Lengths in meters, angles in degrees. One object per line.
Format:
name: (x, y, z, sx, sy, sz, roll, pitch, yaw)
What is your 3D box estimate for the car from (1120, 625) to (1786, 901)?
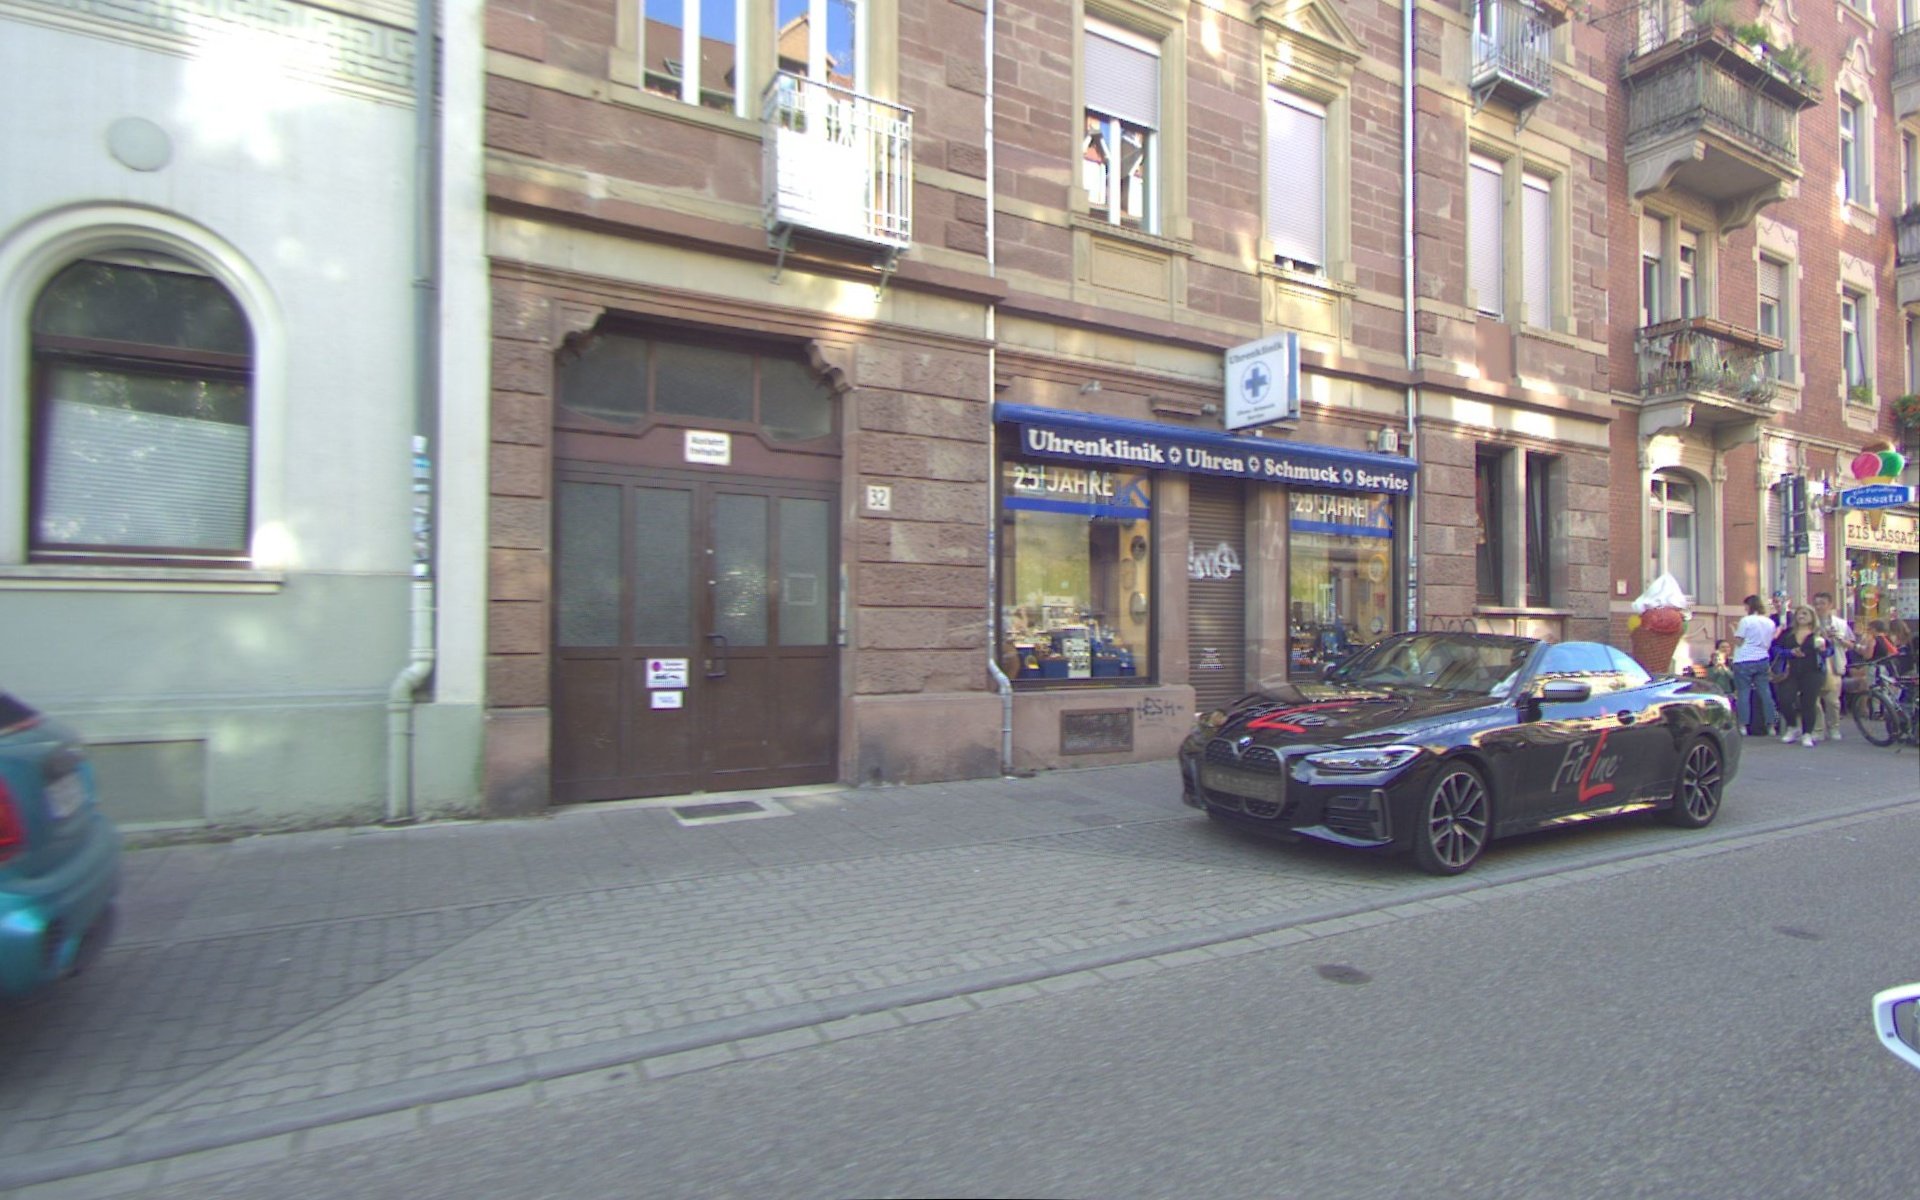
car: (3.684, 0.894, 7.158, 5.055, 1.369, 1.803, 1, -1, -31)

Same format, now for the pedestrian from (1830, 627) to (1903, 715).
pedestrian: (14.332, 1.106, 15.888, 0.600, 1.331, 0.719, 1, 0, -32)

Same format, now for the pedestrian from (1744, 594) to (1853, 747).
pedestrian: (10.095, 0.825, 12.118, 0.652, 1.783, 0.763, 1, 0, 1)

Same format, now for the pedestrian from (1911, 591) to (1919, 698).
pedestrian: (17.145, 0.779, 17.453, 0.750, 1.878, 0.664, 1, 0, 30)

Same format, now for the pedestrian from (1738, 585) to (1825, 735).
pedestrian: (10.808, 0.777, 13.233, 0.589, 1.917, 0.648, 1, 0, 1)

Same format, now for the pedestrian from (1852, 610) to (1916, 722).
pedestrian: (13.948, 0.979, 15.171, 0.577, 1.638, 0.551, 1, 0, -29)

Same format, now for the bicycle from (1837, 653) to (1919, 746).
bicycle: (11.469, 1.198, 11.954, 0.402, 1.044, 1.684, 1, 0, -8)

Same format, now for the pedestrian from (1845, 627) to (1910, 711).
pedestrian: (15.241, 1.130, 16.693, 0.435, 1.331, 0.713, 1, 0, -33)

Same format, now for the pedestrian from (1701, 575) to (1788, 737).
pedestrian: (10.141, 0.713, 12.997, 0.617, 2.040, 0.645, 1, -1, -1)

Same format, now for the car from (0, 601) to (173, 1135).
car: (-4.536, 0.695, 2.424, 3.969, 1.434, 1.660, 1, -1, -33)

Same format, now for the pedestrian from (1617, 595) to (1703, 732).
pedestrian: (9.385, 0.832, 13.486, 0.652, 1.783, 0.690, 1, 0, 1)

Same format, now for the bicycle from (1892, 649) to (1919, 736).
bicycle: (13.117, 1.203, 13.134, 1.710, 1.105, 0.578, 1, 0, -17)

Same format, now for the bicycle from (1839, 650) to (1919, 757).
bicycle: (10.805, 1.169, 11.468, 0.366, 1.132, 1.583, 1, 0, 10)

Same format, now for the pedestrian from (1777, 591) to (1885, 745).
pedestrian: (10.763, 0.821, 12.440, 0.652, 1.843, 0.763, 1, 0, 1)

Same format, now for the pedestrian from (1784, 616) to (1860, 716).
pedestrian: (13.187, 0.995, 15.374, 0.714, 1.489, 0.604, 1, 0, -19)
